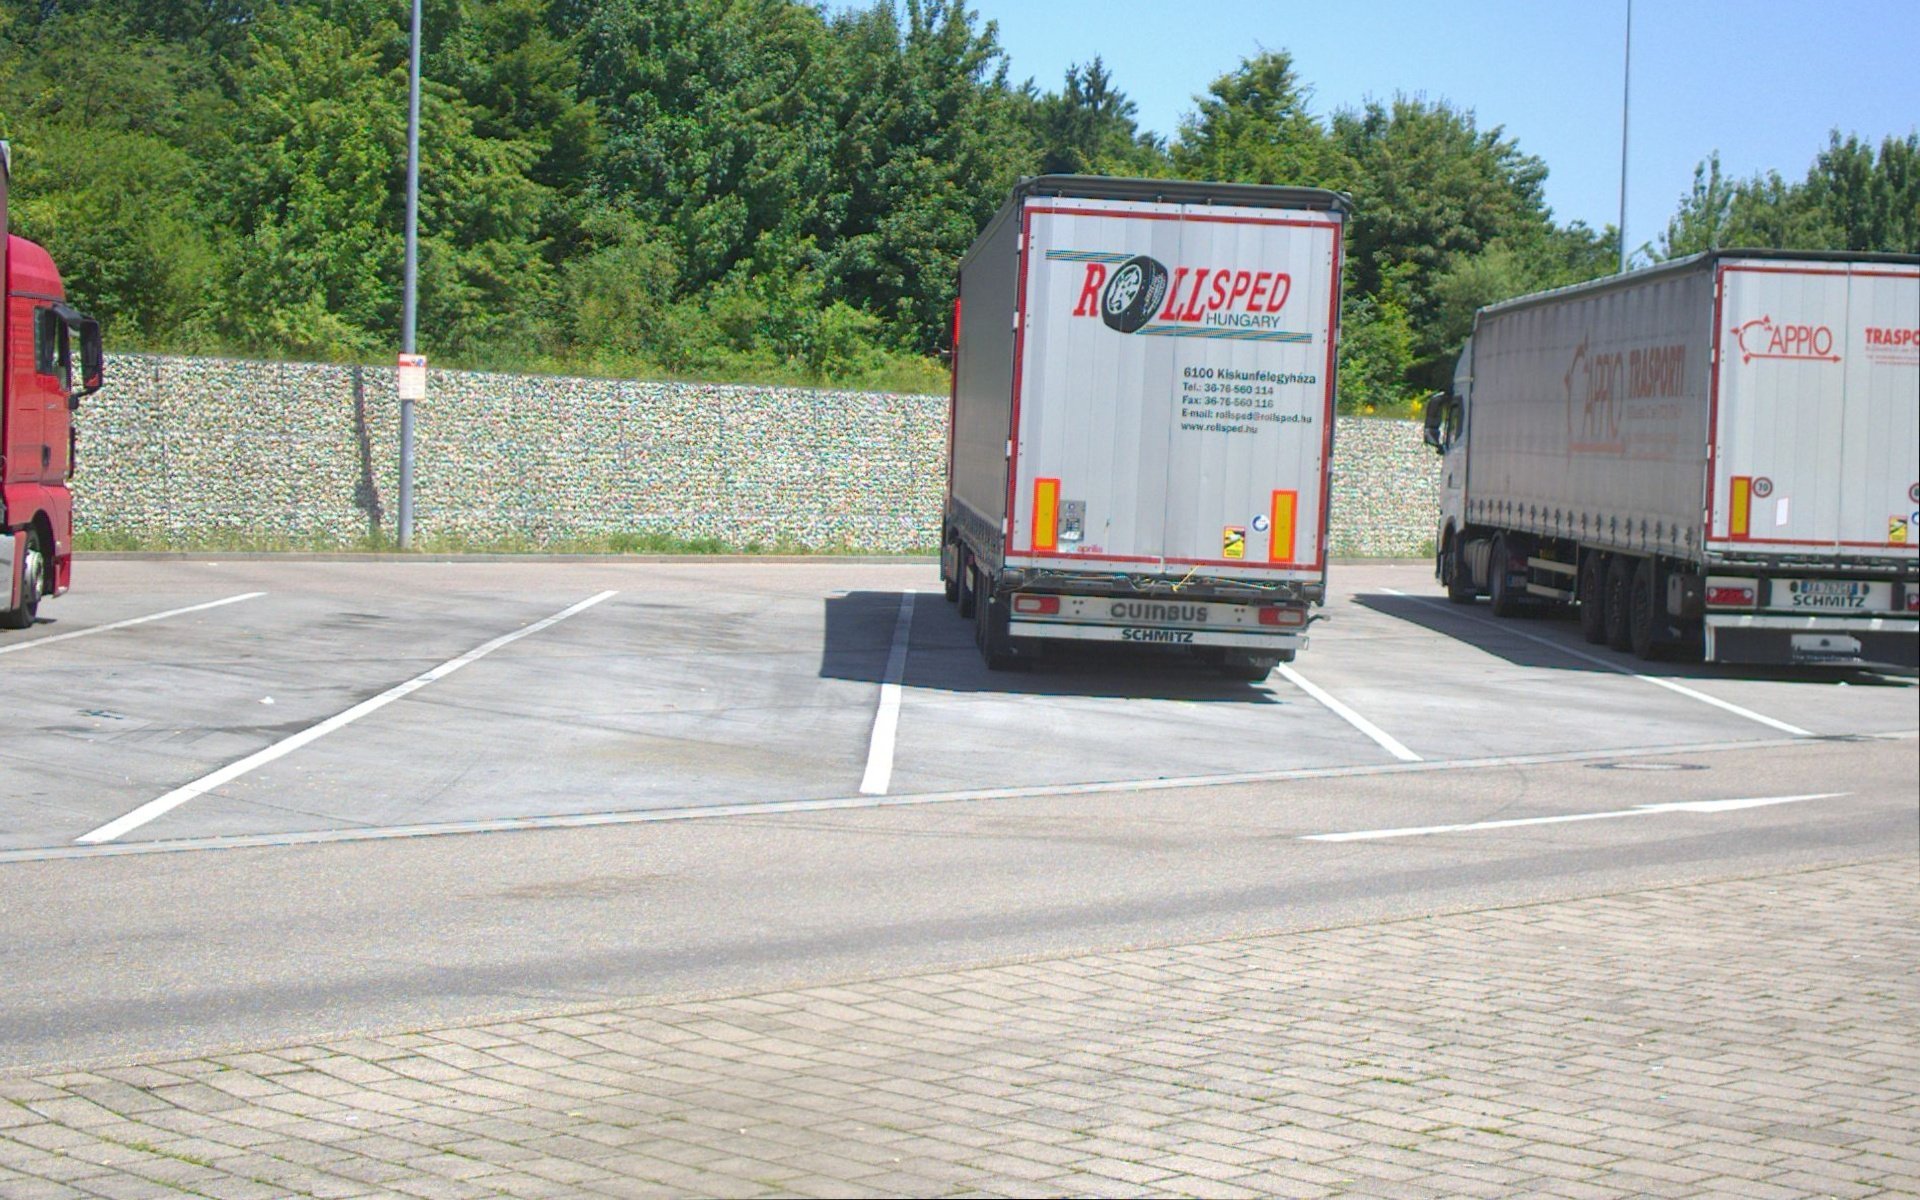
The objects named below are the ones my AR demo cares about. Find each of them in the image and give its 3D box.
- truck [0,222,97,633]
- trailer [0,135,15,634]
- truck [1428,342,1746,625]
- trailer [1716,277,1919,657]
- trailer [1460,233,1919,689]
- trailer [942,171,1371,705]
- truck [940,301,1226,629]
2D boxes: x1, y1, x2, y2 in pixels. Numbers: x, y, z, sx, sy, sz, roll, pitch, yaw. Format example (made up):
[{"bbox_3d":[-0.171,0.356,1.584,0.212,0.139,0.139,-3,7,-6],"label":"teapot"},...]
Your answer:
[{"bbox_3d":[-9.246,-1.456,28.188,2.812,3.351,5.975,2,3,-1],"label":"truck"},{"bbox_3d":[-9.158,-1.465,21.369,2.821,4.057,13.765,2,3,-1],"label":"trailer"},{"bbox_3d":[8.090,-1.570,45.132,2.865,3.351,5.975,2,3,-1],"label":"truck"},{"bbox_3d":[11.789,-1.504,39.378,2.858,4.095,13.765,2,3,-1],"label":"trailer"},{"bbox_3d":[8.192,-1.589,38.366,2.858,4.095,13.765,2,3,-1],"label":"trailer"},{"bbox_3d":[1.464,-1.568,33.111,2.858,3.958,13.765,2,3,-1],"label":"trailer"},{"bbox_3d":[1.279,-1.573,39.312,2.865,3.351,5.975,2,3,-1],"label":"truck"}]
